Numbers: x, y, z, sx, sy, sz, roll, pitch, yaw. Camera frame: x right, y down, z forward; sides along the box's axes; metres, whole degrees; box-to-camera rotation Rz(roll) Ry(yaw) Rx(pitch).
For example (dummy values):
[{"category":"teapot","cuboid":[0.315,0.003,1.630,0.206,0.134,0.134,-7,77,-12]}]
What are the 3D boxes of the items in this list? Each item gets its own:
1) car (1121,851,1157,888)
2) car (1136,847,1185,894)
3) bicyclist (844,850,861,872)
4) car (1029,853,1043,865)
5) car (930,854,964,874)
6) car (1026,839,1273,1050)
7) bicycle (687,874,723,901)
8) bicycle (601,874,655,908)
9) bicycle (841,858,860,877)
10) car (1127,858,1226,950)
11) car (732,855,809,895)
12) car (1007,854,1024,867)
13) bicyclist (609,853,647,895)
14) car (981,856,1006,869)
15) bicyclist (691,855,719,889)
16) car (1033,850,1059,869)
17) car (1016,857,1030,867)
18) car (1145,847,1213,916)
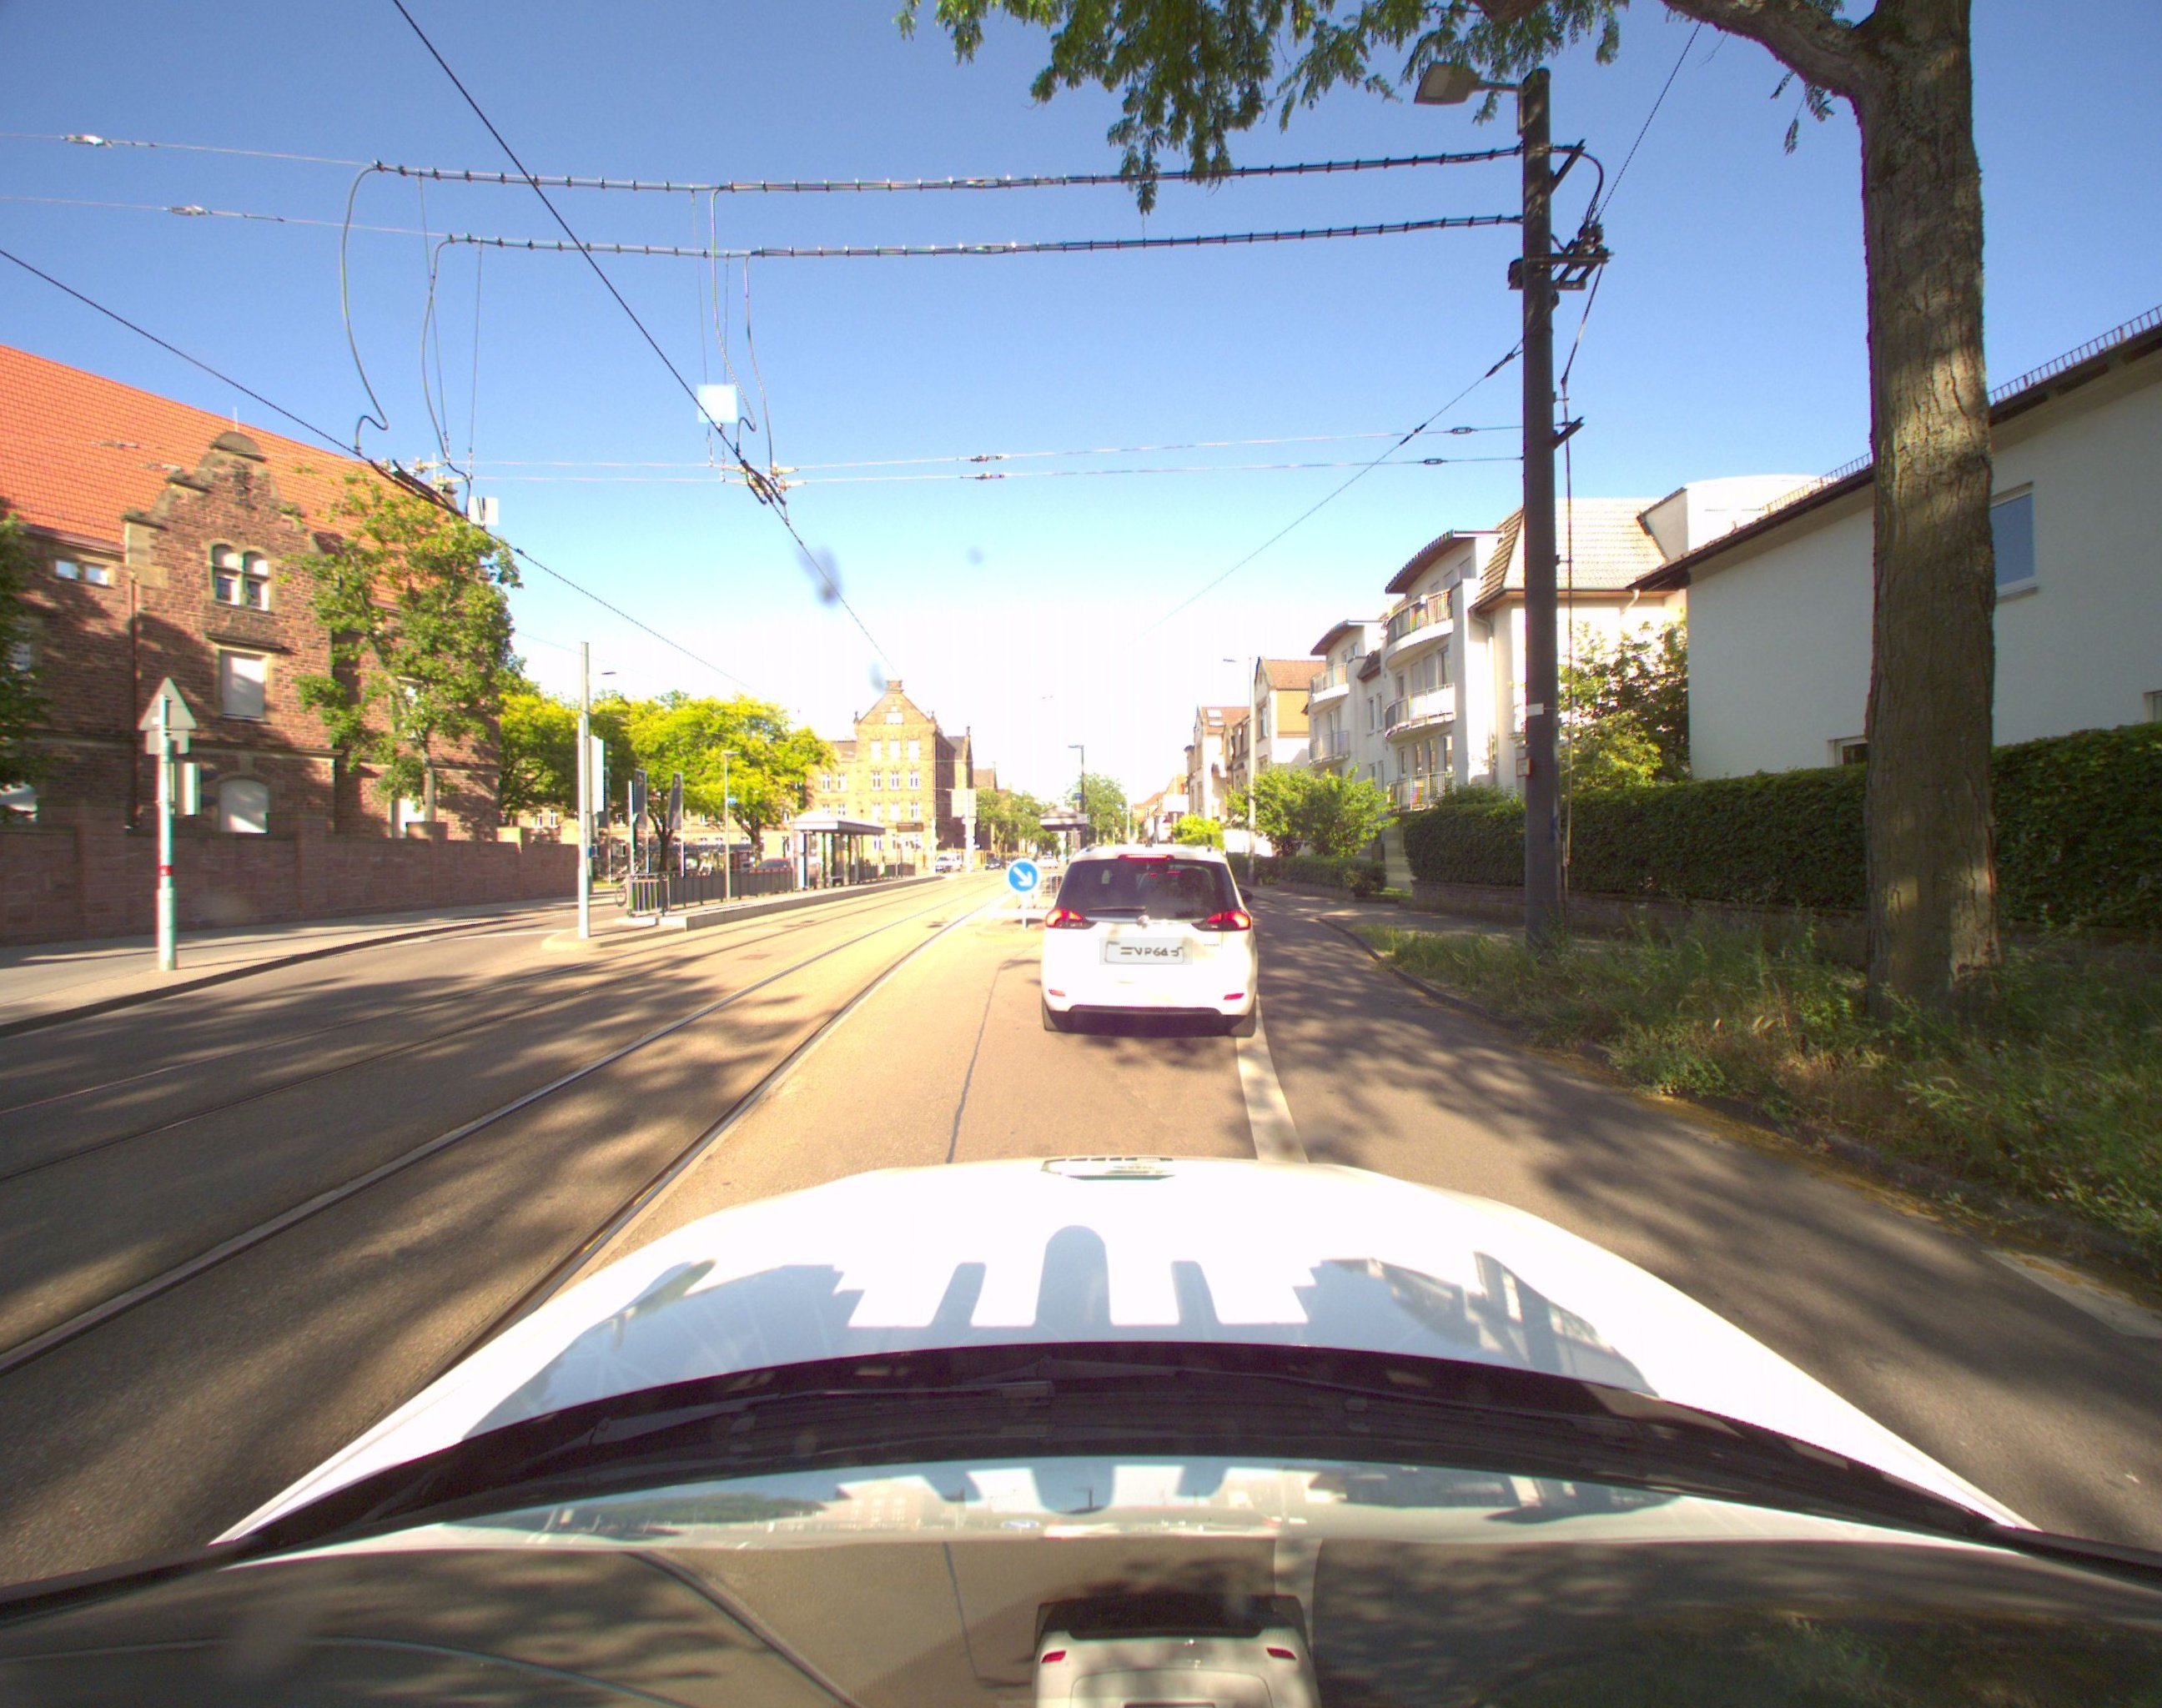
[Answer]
[{"category":"car","cuboid":[2.802,0.711,40.125,1.590,1.634,3.903,1,1,2]},{"category":"car","cuboid":[2.967,0.578,31.011,1.590,1.635,3.903,1,0,2]},{"category":"bicyclist","cuboid":[-15.979,0.504,57.006,0.758,1.536,1.347,-1,0,-1]},{"category":"car","cuboid":[-8.093,0.933,145.644,1.985,2.013,4.003,-1,0,3]},{"category":"car","cuboid":[-12.627,0.919,76.895,1.815,1.788,4.267,-1,0,11]},{"category":"car","cuboid":[0.764,0.676,8.193,1.868,1.585,4.008,0,0,7]},{"category":"bicycle","cuboid":[-16.201,1.467,35.111,0.682,1.089,1.853,-3,-4,-2]},{"category":"bicycle","cuboid":[-16.126,1.290,29.036,0.682,1.089,2.065,-1,0,2]},{"category":"bicycle","cuboid":[-15.967,0.935,56.425,0.775,1.231,2.088,-1,0,-1]},{"category":"car","cuboid":[1.768,0.806,14.867,1.560,1.401,3.792,1,0,7]},{"category":"car","cuboid":[-13.729,0.882,36.317,1.813,1.607,4.357,-1,0,-1]},{"category":"car","cuboid":[-8.531,0.831,106.769,1.821,1.617,4.326,-1,-1,0]},{"category":"bicyclist","cuboid":[-16.139,0.712,29.064,0.650,1.459,1.153,-1,0,2]},{"category":"car","cuboid":[-9.962,0.965,92.950,1.789,1.382,4.503,-1,0,7]},{"category":"bicyclist","cuboid":[-16.211,0.769,35.133,0.651,1.459,1.151,-1,0,-1]},{"category":"car","cuboid":[-4.028,0.601,92.787,1.999,2.013,3.976,-1,0,-18]},{"category":"car","cuboid":[-8.342,1.174,117.542,1.822,1.446,4.323,-1,-1,-3]},{"category":"car","cuboid":[2.556,0.646,21.105,1.560,1.614,3.792,1,0,7]}]
